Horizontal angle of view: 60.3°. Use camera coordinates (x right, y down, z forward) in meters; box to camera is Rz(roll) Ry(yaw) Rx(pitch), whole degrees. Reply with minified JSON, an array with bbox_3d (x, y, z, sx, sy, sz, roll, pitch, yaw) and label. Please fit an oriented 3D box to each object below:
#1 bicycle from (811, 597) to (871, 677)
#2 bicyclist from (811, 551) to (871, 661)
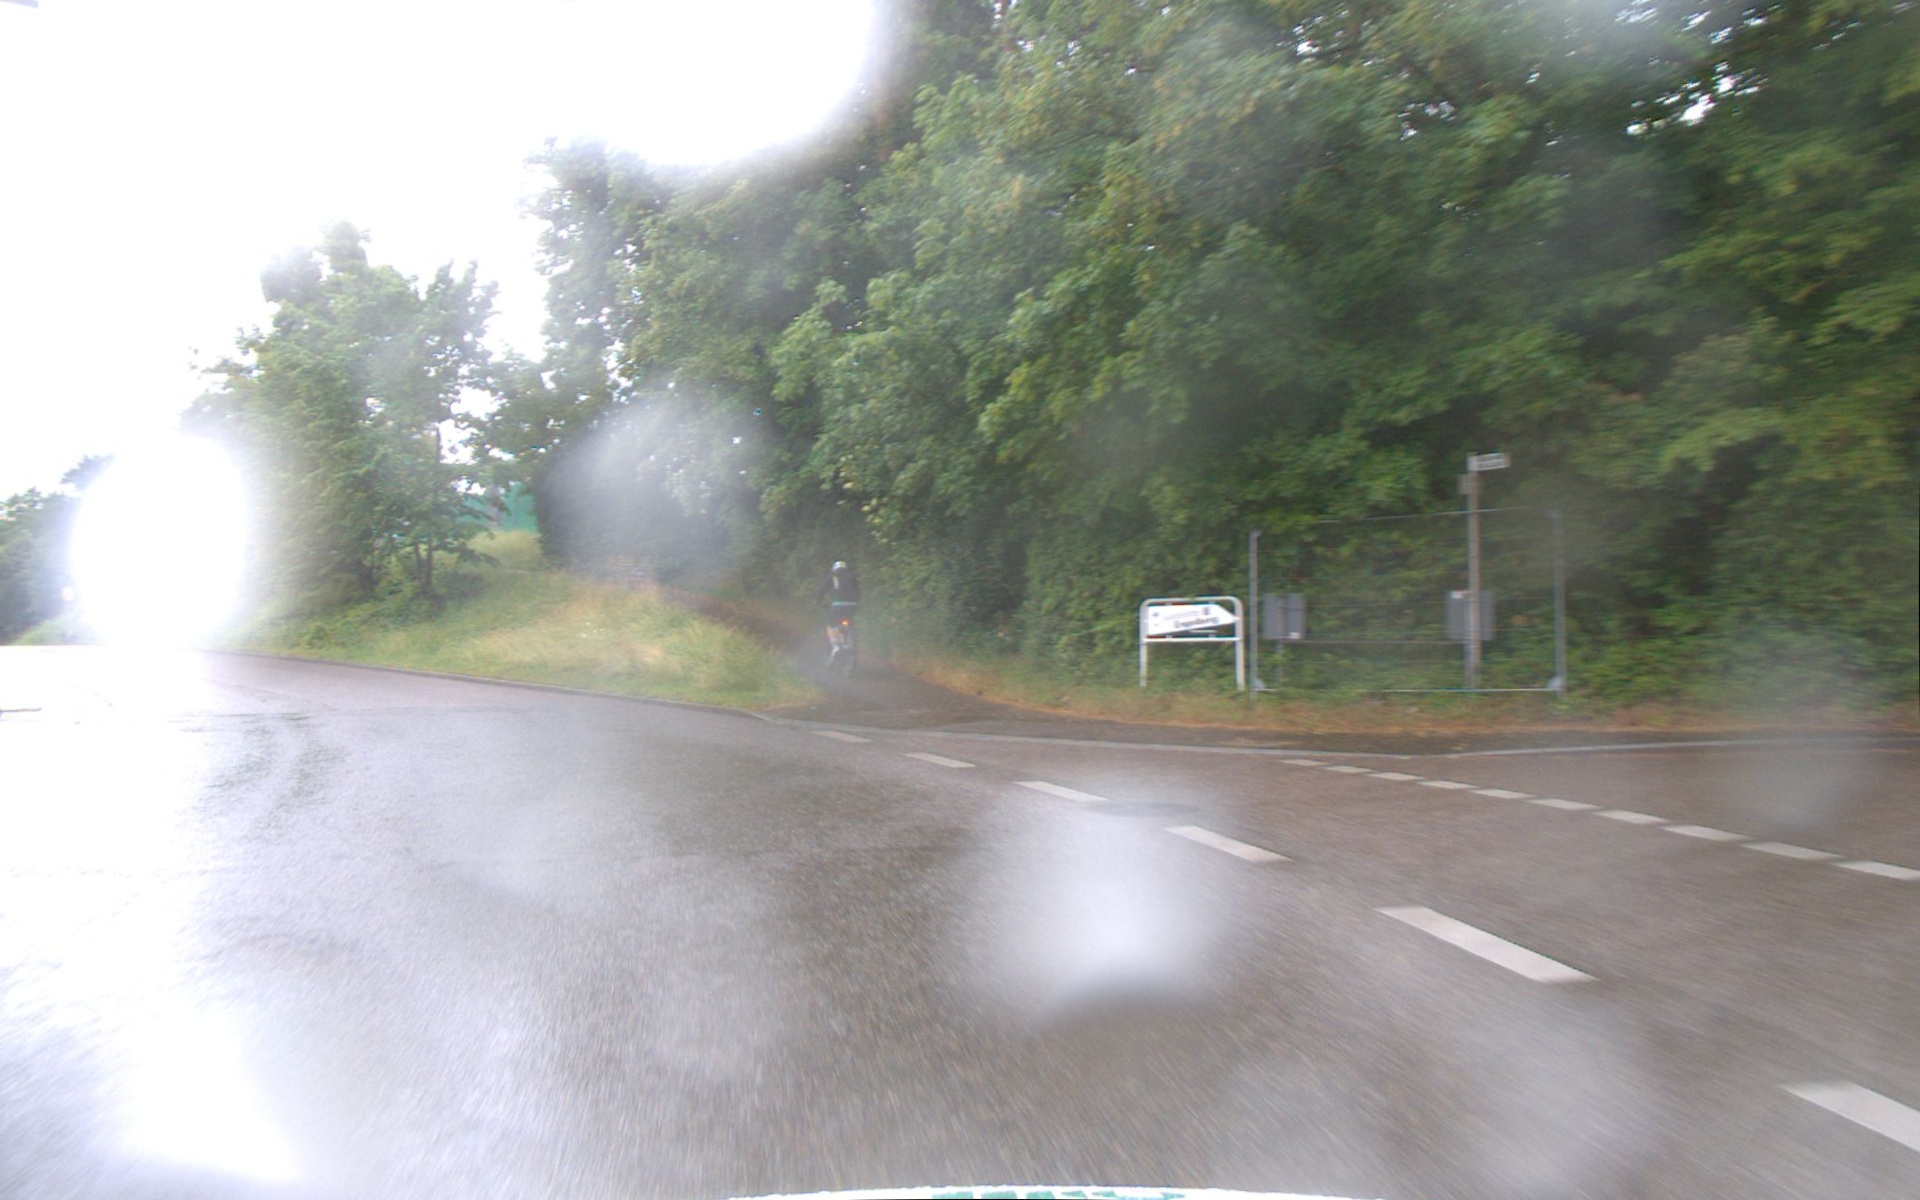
[{"bbox_3d":[-1.877,0.558,25.862,0.519,1.103,1.612,0,4,-19],"label":"bicycle"},{"bbox_3d":[-1.862,0.083,25.832,0.709,1.642,0.901,1,4,-18],"label":"bicyclist"}]
